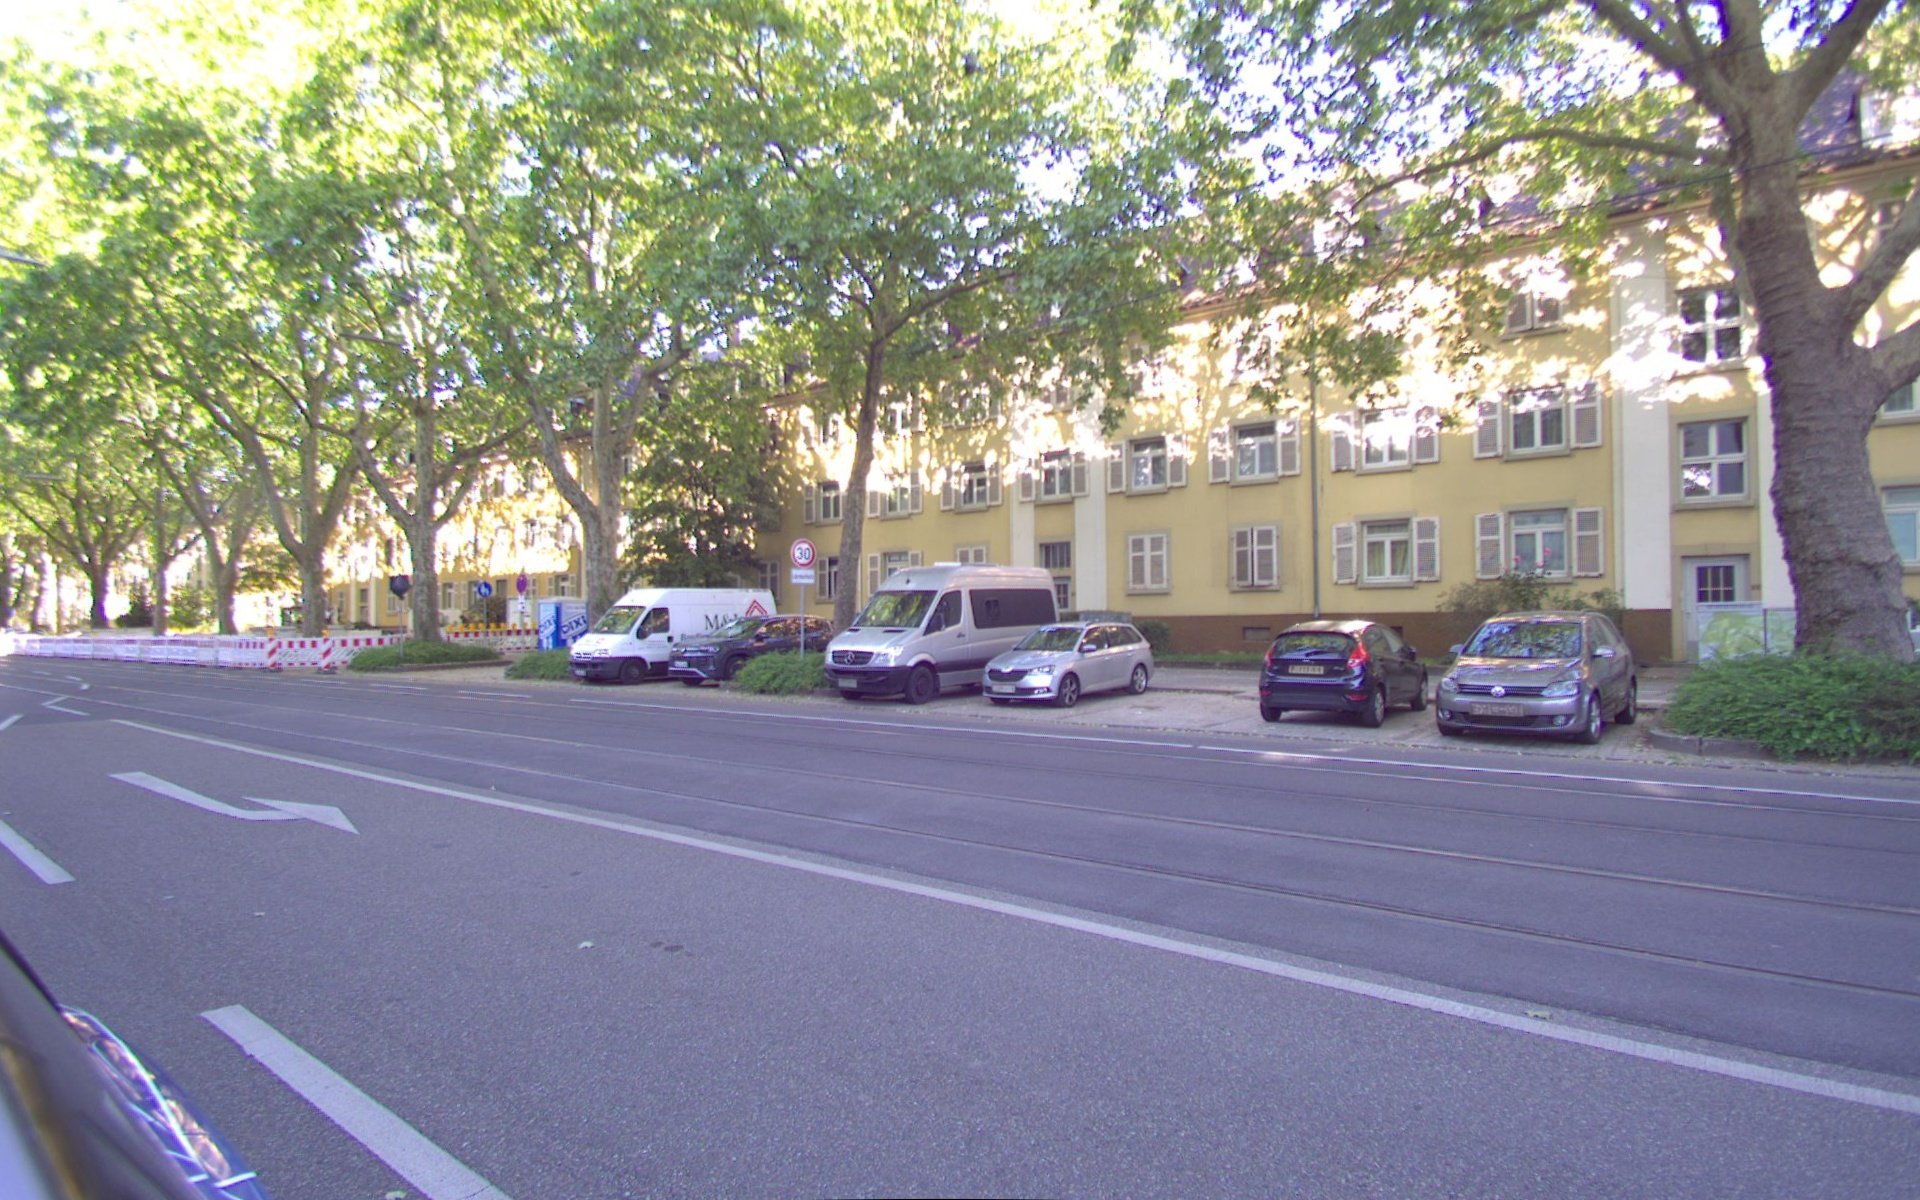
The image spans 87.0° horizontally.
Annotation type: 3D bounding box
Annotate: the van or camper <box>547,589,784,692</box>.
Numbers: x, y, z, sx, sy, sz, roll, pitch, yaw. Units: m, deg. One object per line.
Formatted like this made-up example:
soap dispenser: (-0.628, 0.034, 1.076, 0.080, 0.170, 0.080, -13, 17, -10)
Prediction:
van or camper: (-7.483, 0.926, 26.336, 2.154, 2.403, 5.690, -1, 0, 40)

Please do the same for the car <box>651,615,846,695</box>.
car: (-4.967, 1.228, 24.324, 1.693, 1.645, 4.481, -1, 0, 41)

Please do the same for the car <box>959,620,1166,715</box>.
car: (2.007, 1.147, 18.770, 1.693, 1.457, 4.221, -1, 0, 41)

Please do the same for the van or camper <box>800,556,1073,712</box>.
van or camper: (-0.263, 0.571, 20.328, 2.154, 2.668, 5.857, -1, 0, 40)

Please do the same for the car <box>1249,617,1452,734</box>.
car: (6.020, 1.035, 15.372, 1.693, 1.457, 3.811, -1, 0, 41)

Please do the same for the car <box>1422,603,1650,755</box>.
car: (7.675, 0.886, 13.312, 1.844, 1.631, 4.028, -1, 0, 41)
